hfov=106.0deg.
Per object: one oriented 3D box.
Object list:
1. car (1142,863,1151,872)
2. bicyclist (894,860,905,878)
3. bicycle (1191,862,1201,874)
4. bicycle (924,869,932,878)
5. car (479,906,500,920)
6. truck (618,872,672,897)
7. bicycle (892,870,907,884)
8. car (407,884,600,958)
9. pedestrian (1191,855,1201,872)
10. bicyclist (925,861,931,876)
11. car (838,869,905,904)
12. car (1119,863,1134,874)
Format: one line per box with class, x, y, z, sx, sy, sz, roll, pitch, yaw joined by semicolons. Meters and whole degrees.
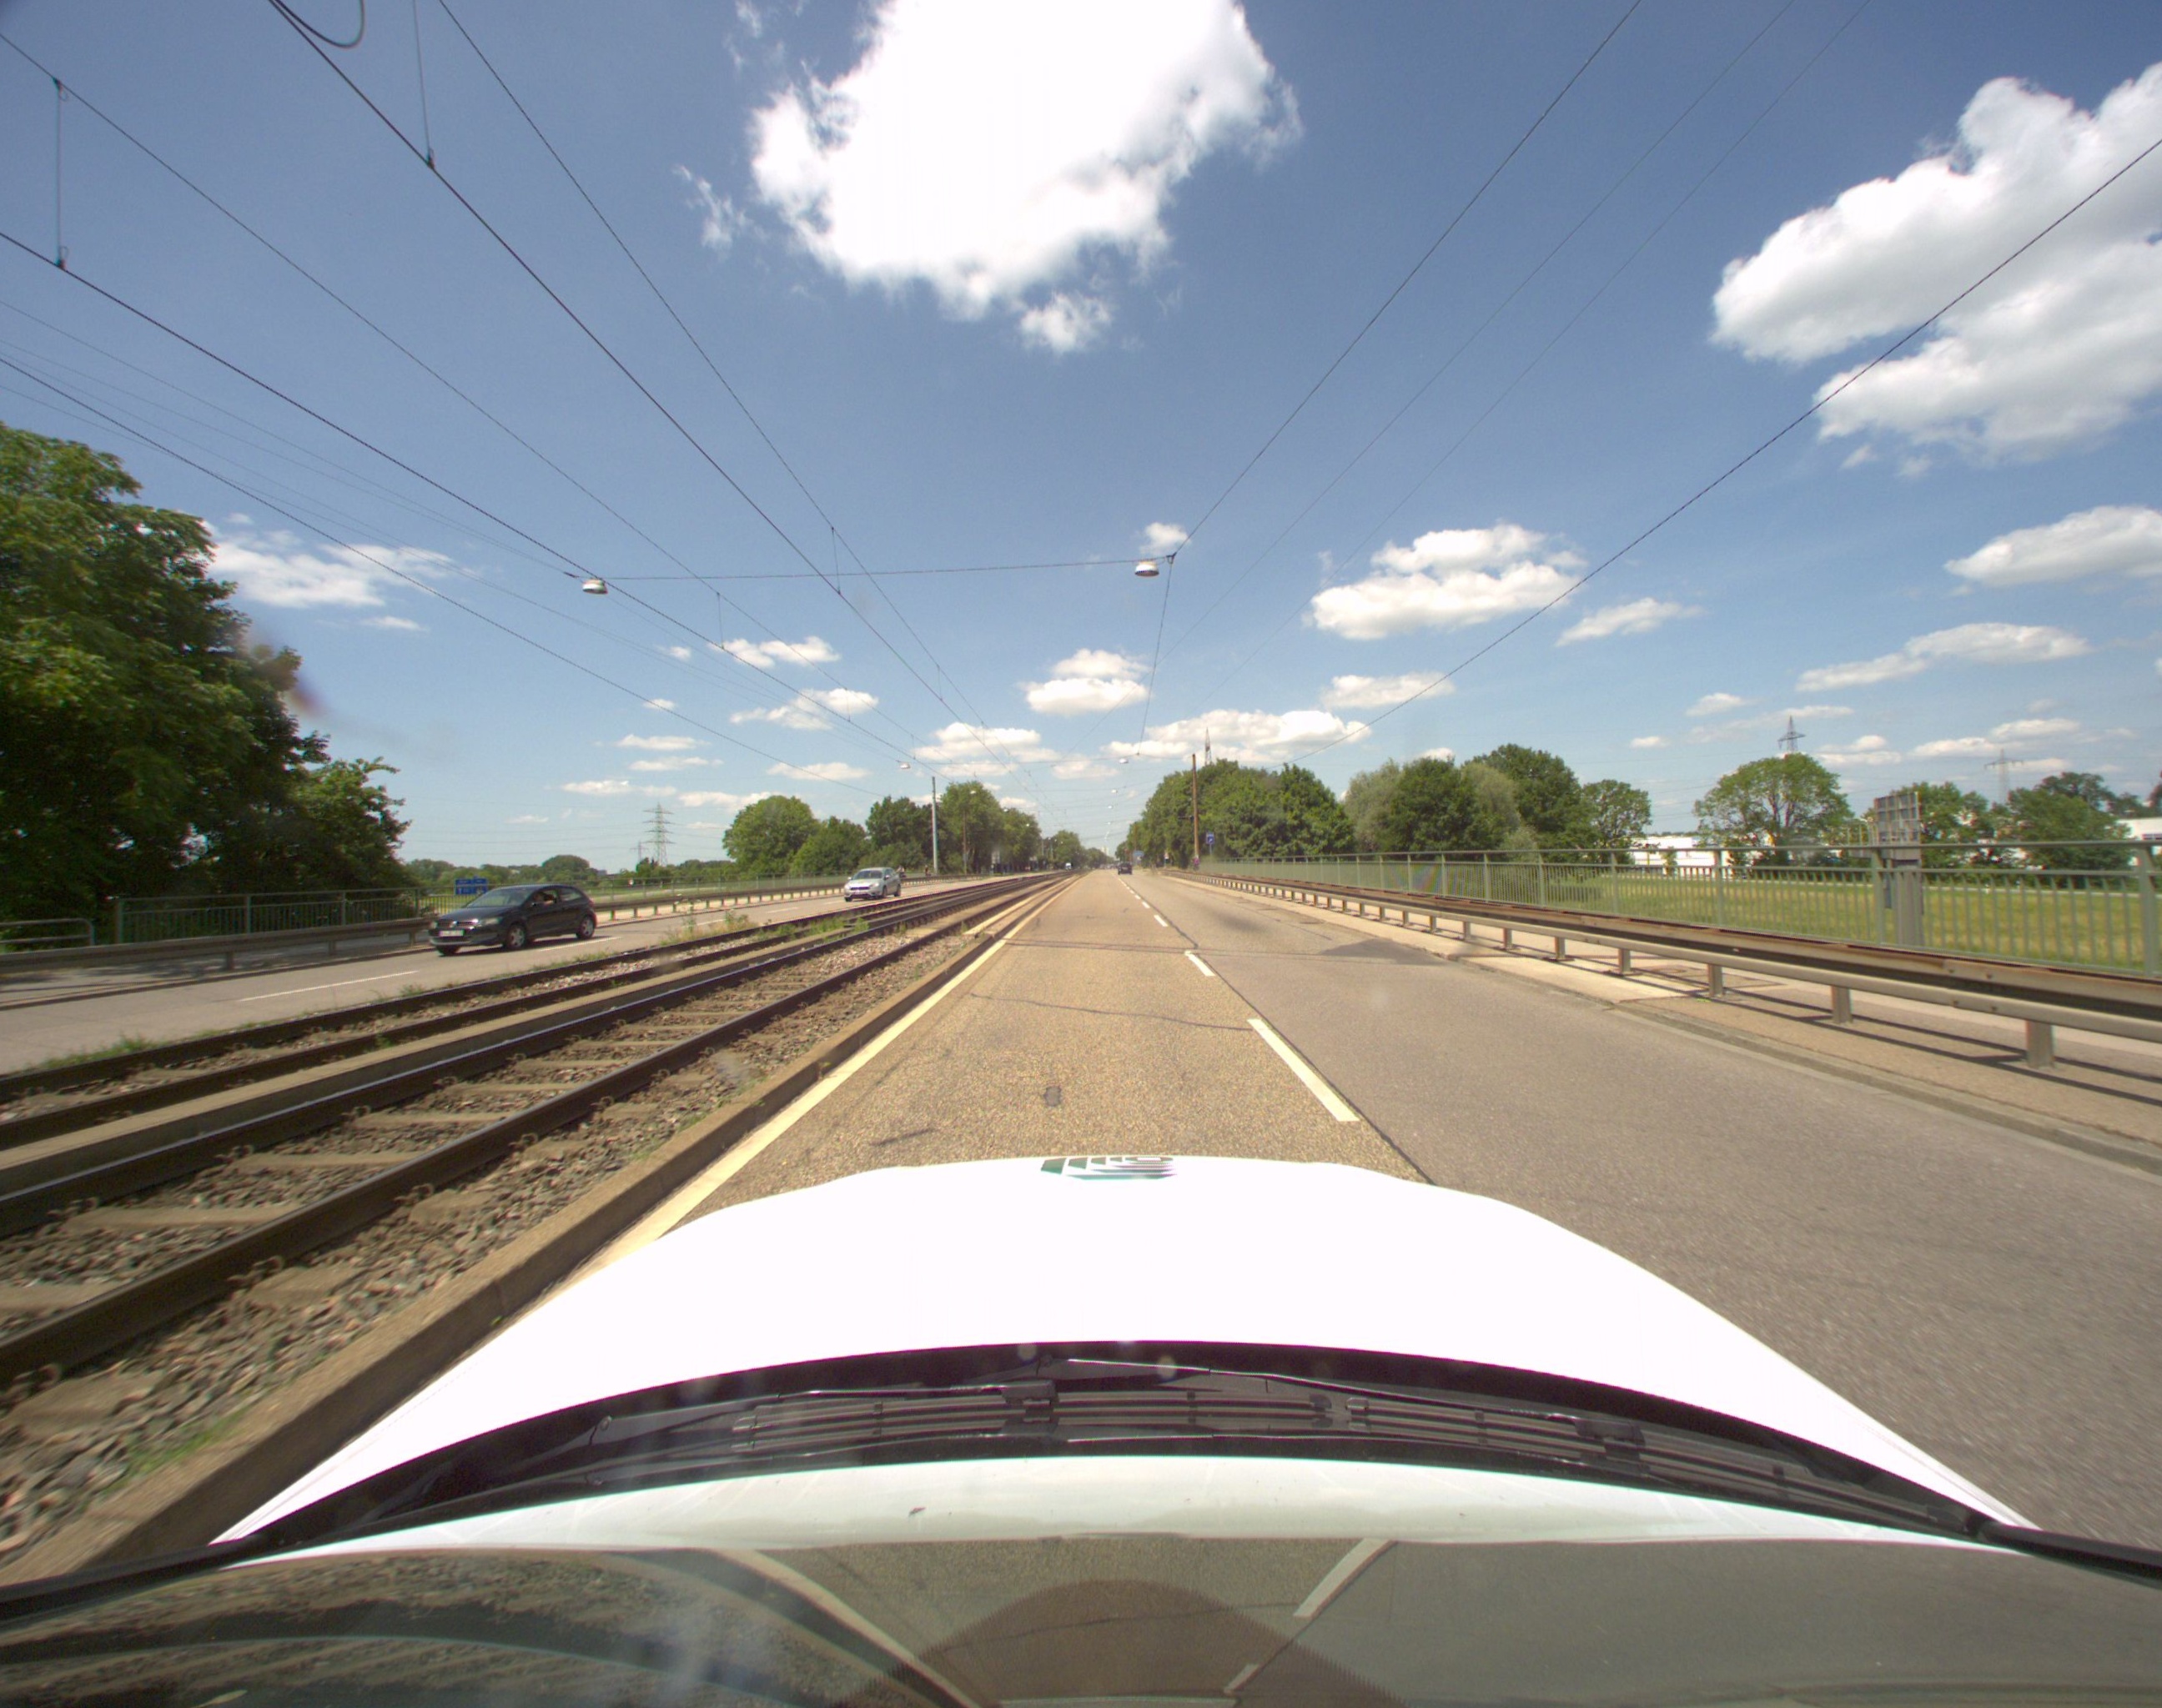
car;15.045;3.038;186.898;1.986;1.970;4.002;-1;-1;2
bicyclist;-16.275;1.368;73.101;0.760;1.622;0.838;-1;-1;1
bicycle;9.758;1.208;69.171;0.557;1.024;1.848;-2;-1;2
bicycle;-15.768;2.019;83.997;0.521;0.843;2.035;0;0;-1
car;-97.645;9.669;134.456;3.950;2.014;1.881;2;-2;42
truck;-102.696;7.299;191.927;10.848;5.637;3.263;2;0;-31
bicycle;-16.289;2.028;73.031;0.854;1.185;2.062;-1;-1;1
car;-13.176;1.467;18.902;1.568;1.400;3.939;-2;-1;1
pedestrian;9.780;0.799;69.256;0.625;1.374;1.051;-2;-1;2
bicyclist;-15.783;1.492;84.063;0.519;1.497;0.529;-1;-1;-1
car;-9.609;1.451;37.730;1.704;1.420;4.625;-3;-1;2
car;5.789;1.824;103.669;1.581;1.343;3.272;-2;0;0
